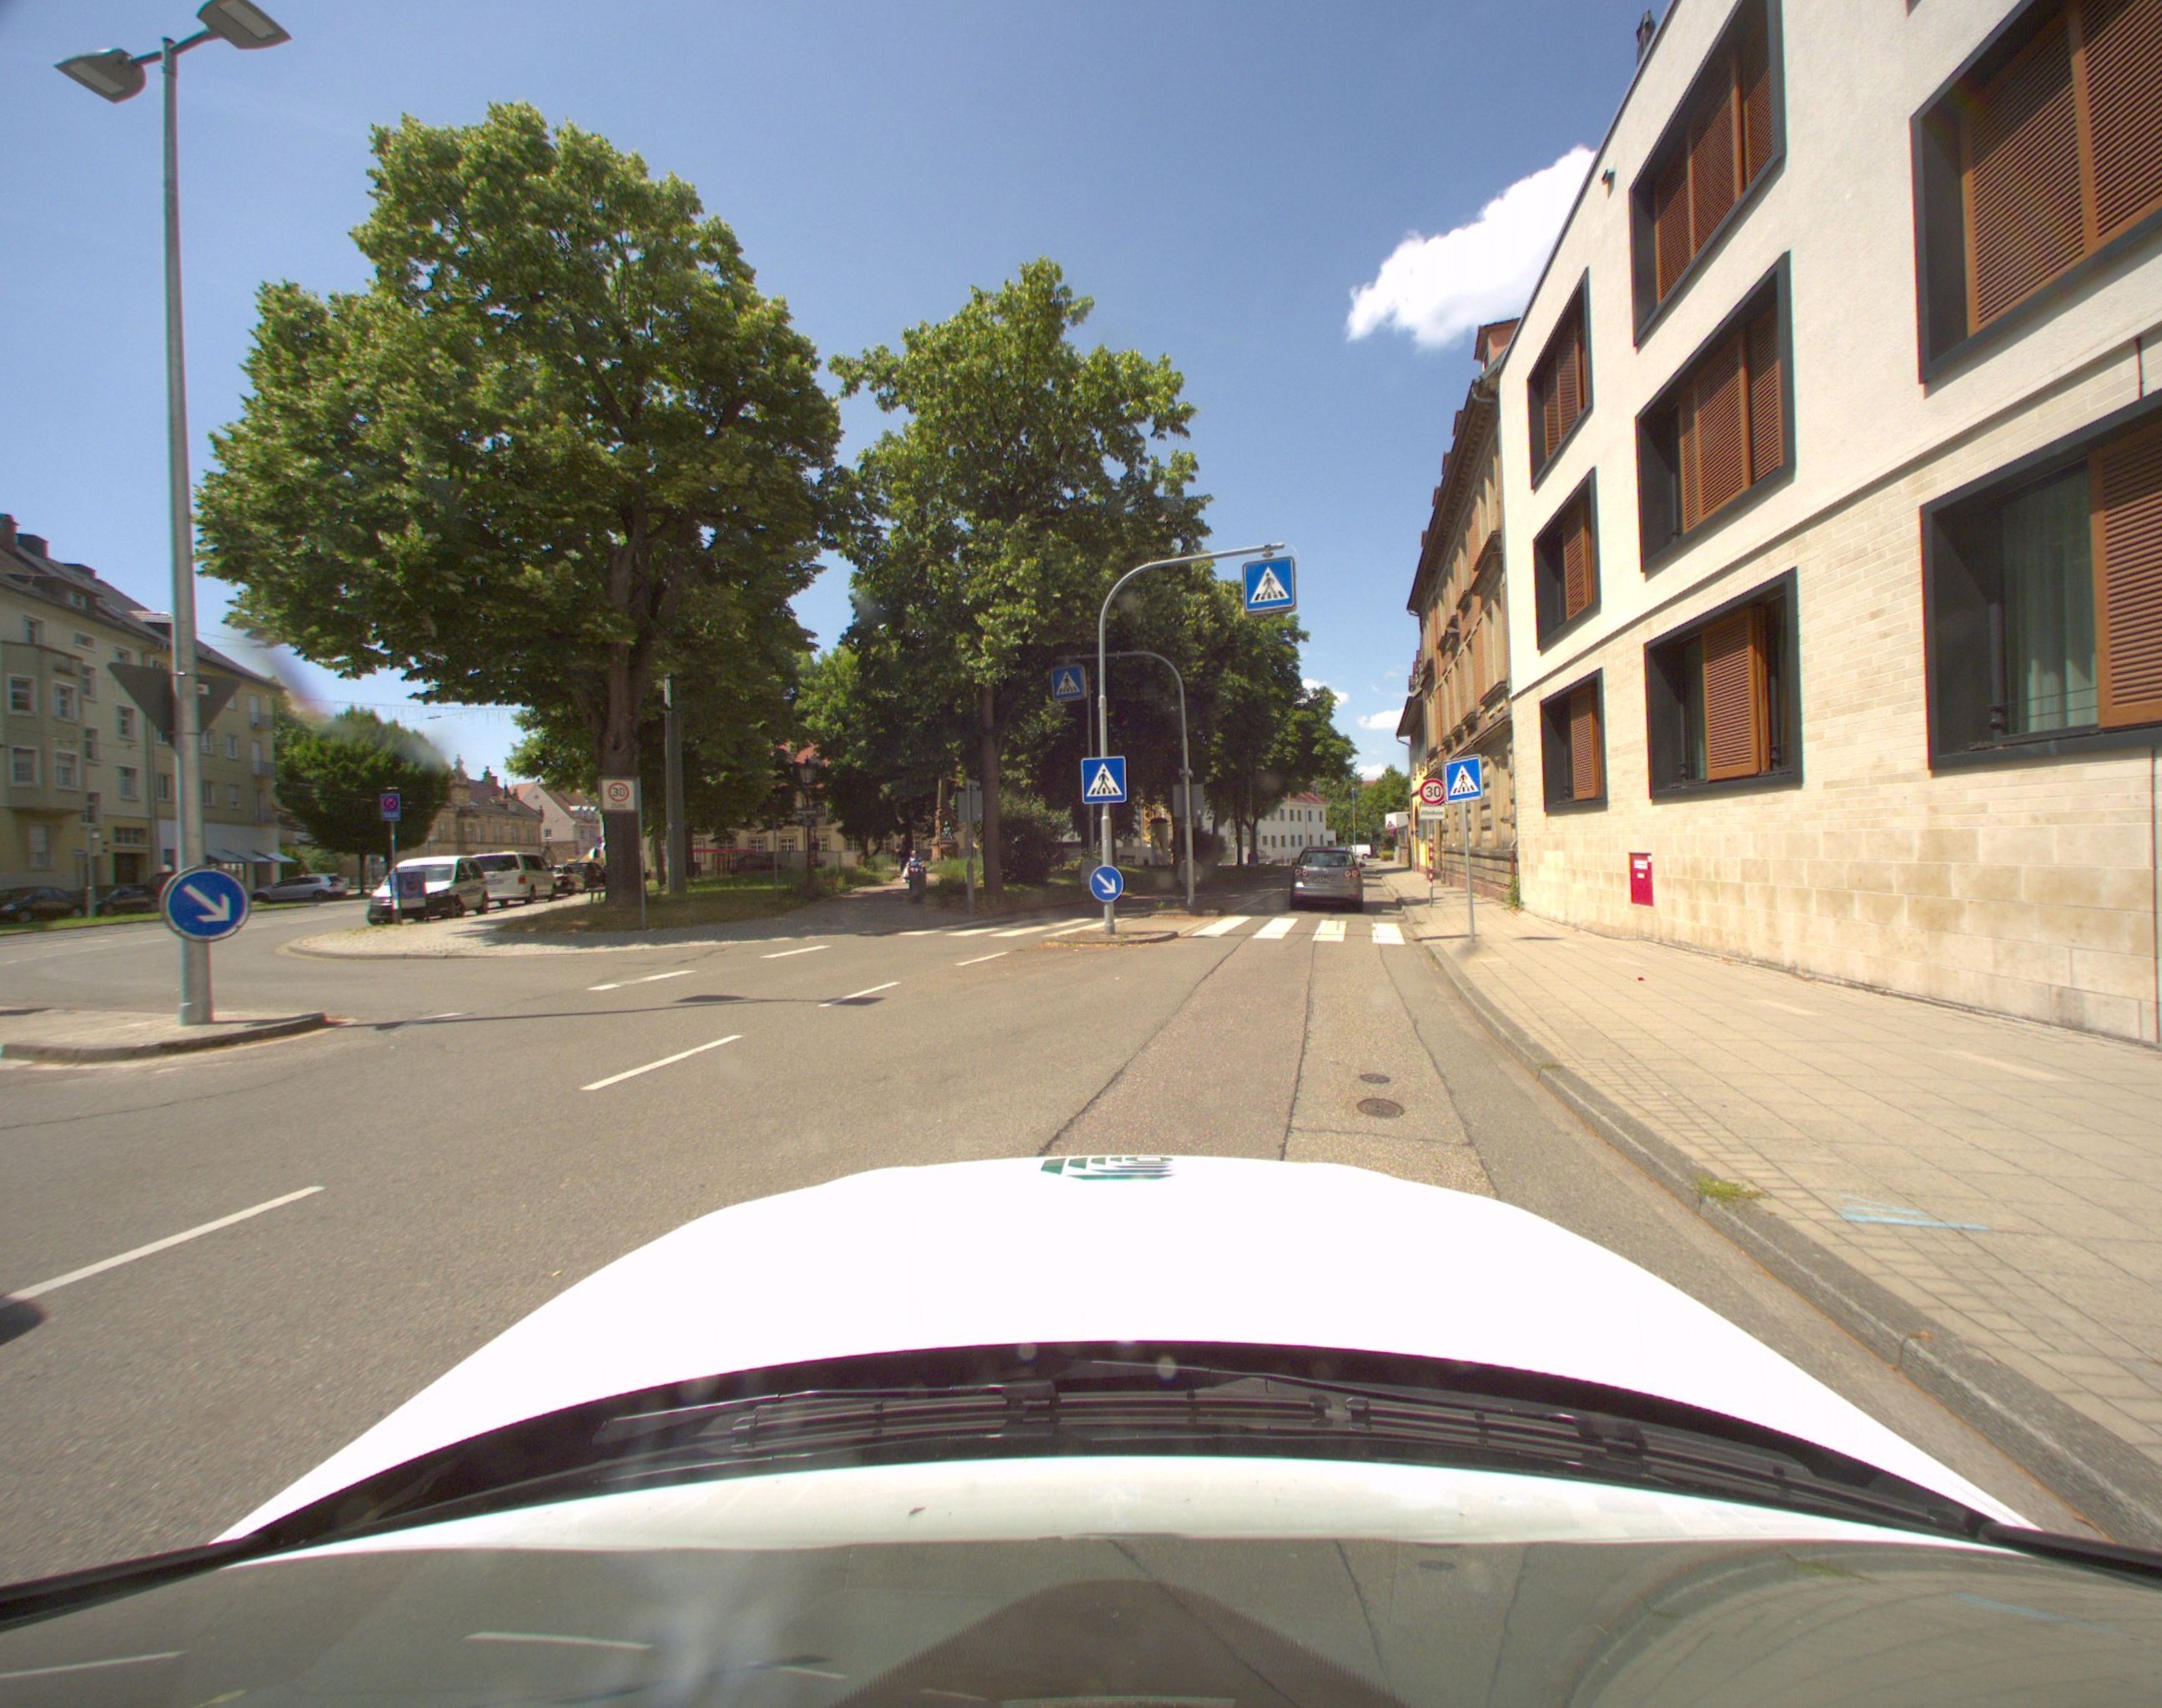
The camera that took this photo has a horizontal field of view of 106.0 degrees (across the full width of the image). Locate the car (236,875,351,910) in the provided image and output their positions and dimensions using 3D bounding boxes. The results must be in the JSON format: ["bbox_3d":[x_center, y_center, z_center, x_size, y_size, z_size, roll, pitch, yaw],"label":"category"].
[{"bbox_3d":[-44.863,2.167,46.536,4.226,1.504,1.986,-5,1,-27],"label":"car"}]

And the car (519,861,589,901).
[{"bbox_3d":[-24.127,1.189,37.430,1.790,1.624,4.453,-2,0,-21],"label":"car"}]

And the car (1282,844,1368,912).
[{"bbox_3d":[6.317,0.531,21.078,1.888,1.533,4.263,1,1,17],"label":"car"}]

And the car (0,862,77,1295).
[{"bbox_3d":[-4.821,0.815,0.887,1.728,1.488,4.416,-2,0,6],"label":"car"}]

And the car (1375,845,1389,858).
[{"bbox_3d":[38.879,-0.298,105.387,1.633,1.574,3.657,-1,0,19],"label":"car"}]

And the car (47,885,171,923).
[{"bbox_3d":[-42.583,2.143,35.826,1.649,1.277,4.231,-4,1,-23],"label":"car"}]

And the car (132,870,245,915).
[{"bbox_3d":[-44.489,1.861,40.769,1.861,1.911,4.735,-4,1,-23],"label":"car"}]

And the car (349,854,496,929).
[{"bbox_3d":[-18.184,0.951,22.765,2.002,1.826,4.388,-2,0,-23],"label":"car"}]

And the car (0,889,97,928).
[{"bbox_3d":[-40.947,2.120,31.838,1.609,1.277,3.559,-4,1,-23],"label":"car"}]

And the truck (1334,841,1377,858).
[{"bbox_3d":[34.313,-0.577,101.875,4.761,2.013,2.153,-2,0,12],"label":"truck"}]

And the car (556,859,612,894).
[{"bbox_3d":[-26.671,1.172,43.813,1.790,1.693,4.170,-2,0,-21],"label":"car"}]

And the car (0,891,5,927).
[{"bbox_3d":[-39.161,2.043,27.654,1.694,1.277,3.263,-4,1,-23],"label":"car"}]

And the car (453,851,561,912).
[{"bbox_3d":[-21.358,0.945,30.576,2.057,2.002,5.211,-2,0,-21],"label":"car"}]

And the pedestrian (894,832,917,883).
[{"bbox_3d":[-6.729,0.116,31.239,0.747,1.910,0.682,-2,2,-8],"label":"pedestrian"}]

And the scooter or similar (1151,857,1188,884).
[{"bbox_3d":[3.979,0.729,36.451,1.263,0.991,1.458,7,2,17],"label":"scooter or similar"}]

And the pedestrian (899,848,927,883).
[{"bbox_3d":[-6.270,0.410,30.393,0.905,1.252,1.145,-2,2,-8],"label":"pedestrian"}]
